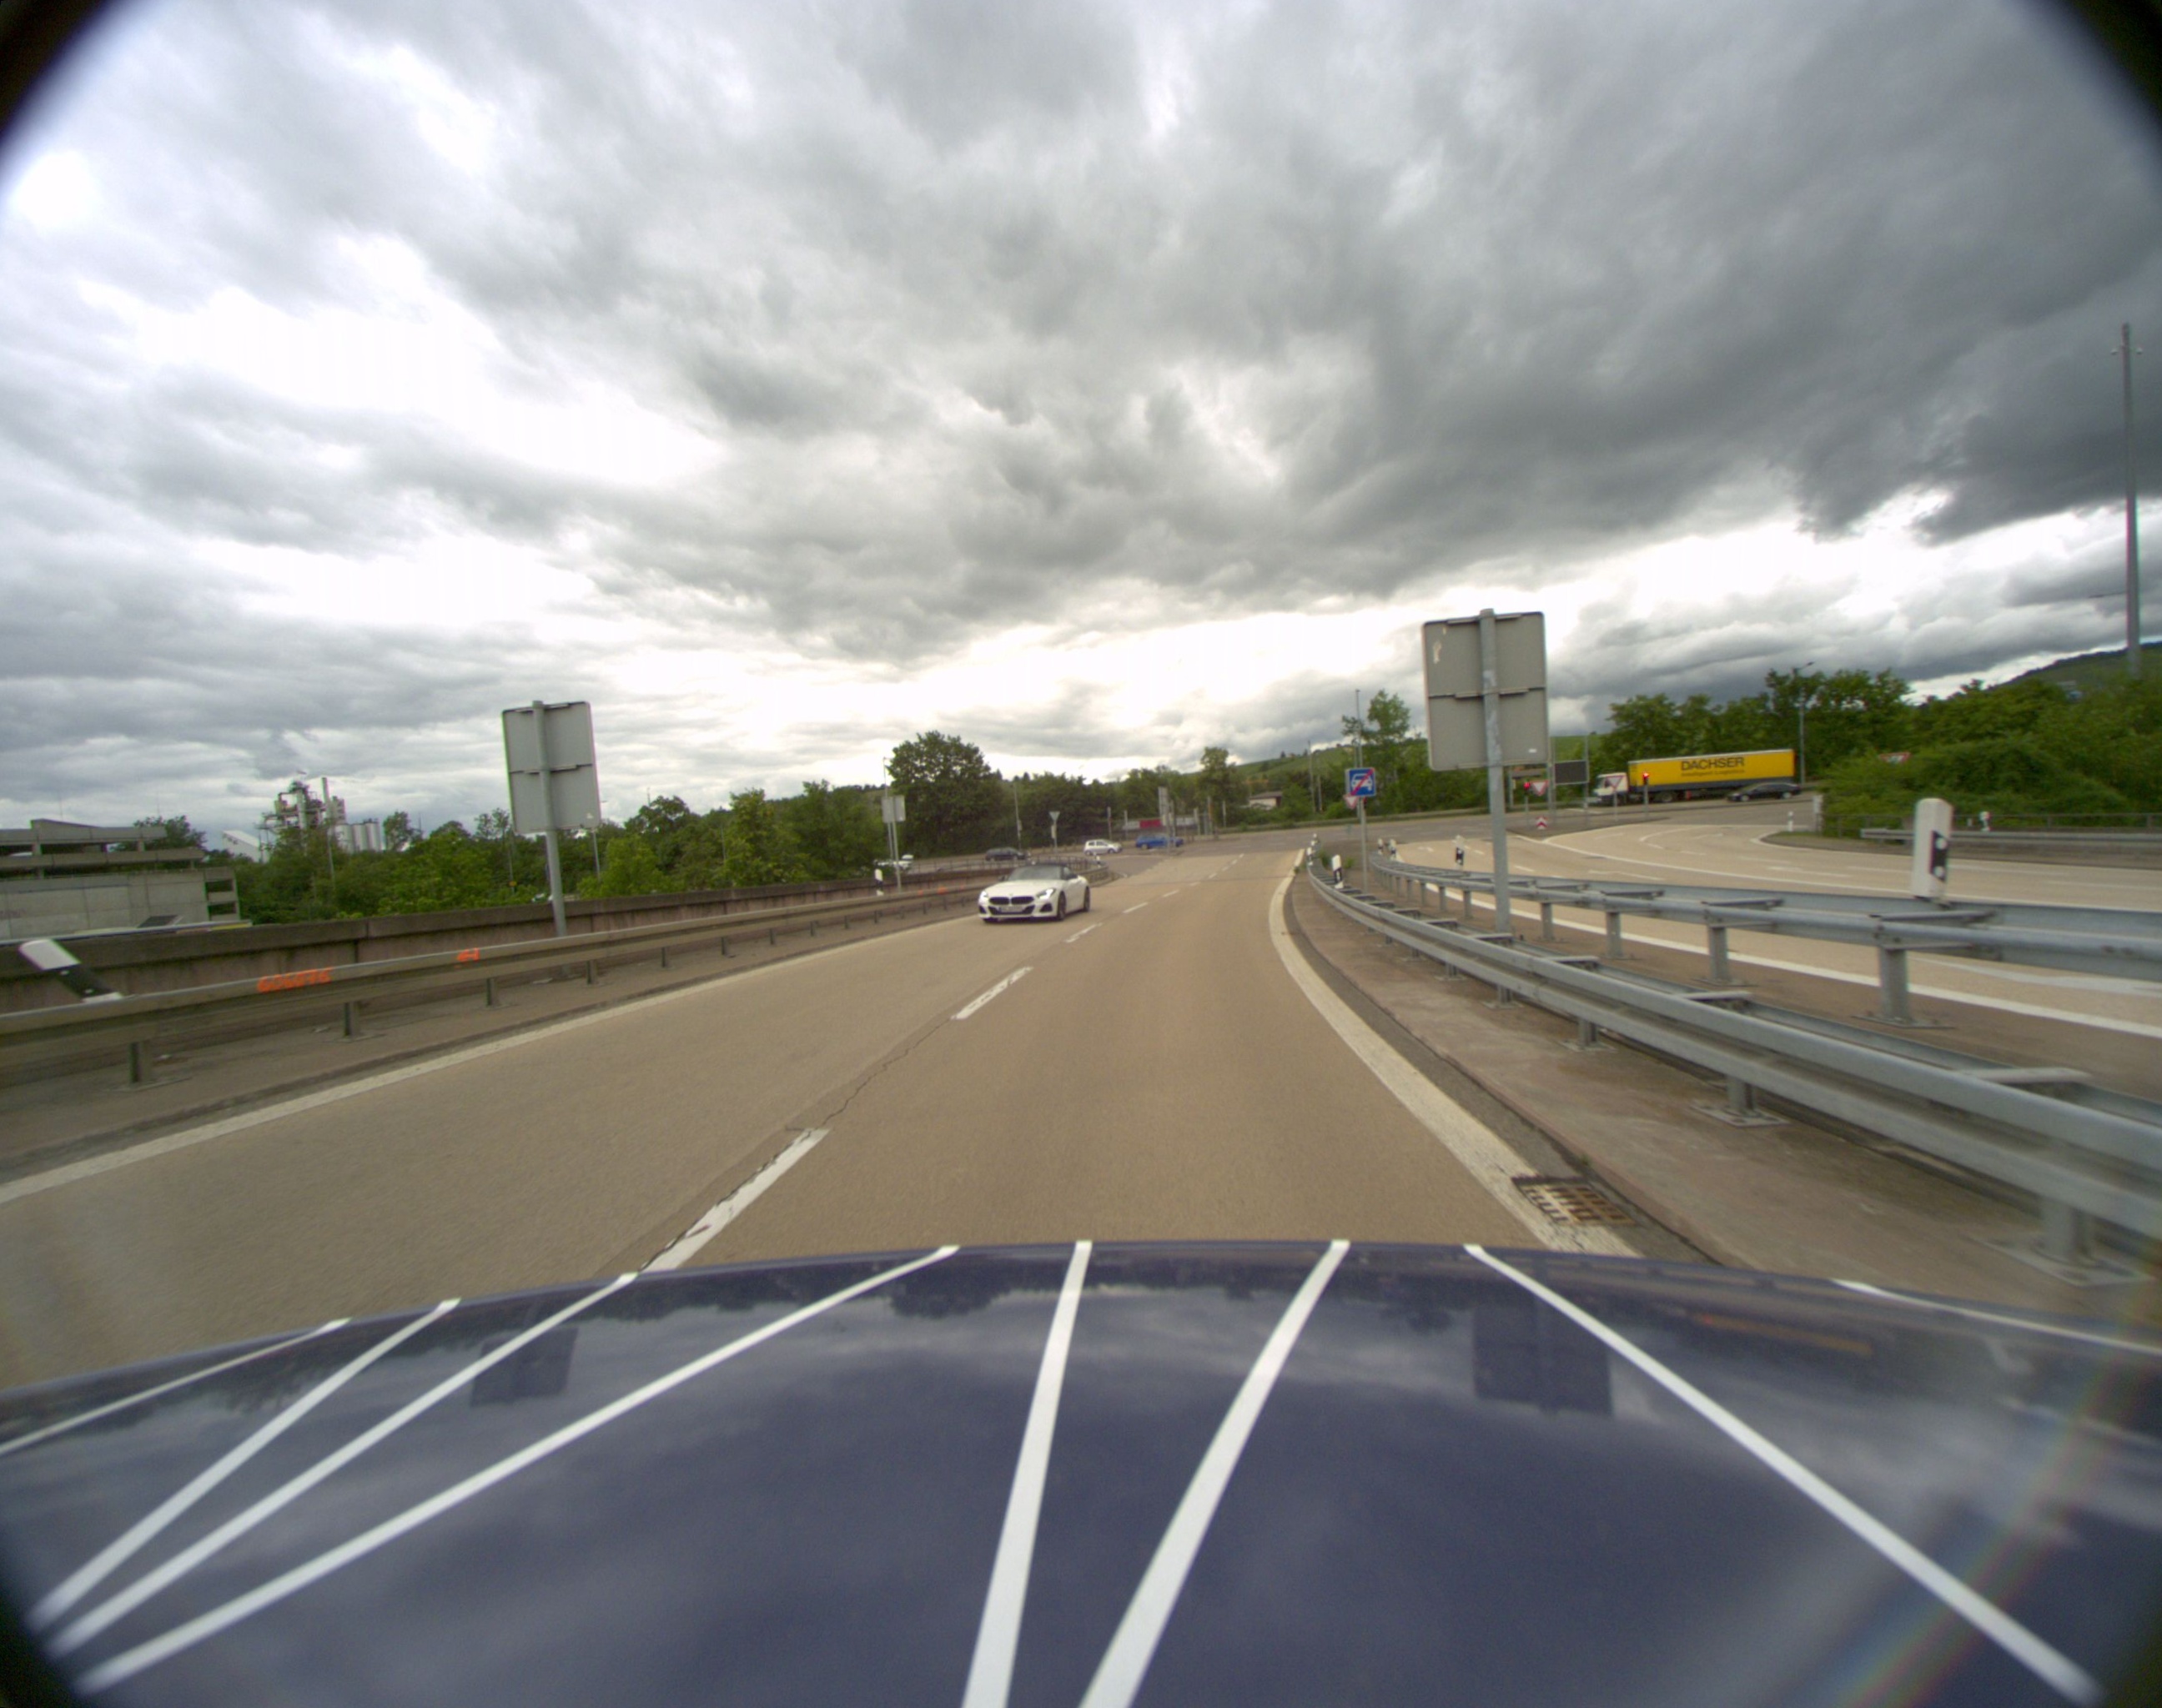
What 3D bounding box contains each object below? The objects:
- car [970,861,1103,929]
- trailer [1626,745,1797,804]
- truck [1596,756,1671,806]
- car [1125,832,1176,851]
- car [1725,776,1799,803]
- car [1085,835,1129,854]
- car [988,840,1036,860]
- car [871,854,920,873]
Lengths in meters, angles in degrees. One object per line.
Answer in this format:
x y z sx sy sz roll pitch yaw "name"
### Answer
-0.908 0.912 18.653 1.861 1.337 4.830 -2 0 14 "car"
56.986 -7.111 69.117 11.631 4.182 2.637 -4 4 23 "trailer"
51.708 -6.803 71.300 5.091 4.182 2.637 -3 4 23 "truck"
6.757 -1.217 74.064 4.532 1.446 1.611 -4 4 24 "car"
55.772 -5.292 62.311 4.117 1.653 1.629 -6 4 21 "car"
2.491 -0.914 72.957 3.741 1.367 1.630 -5 4 22 "car"
-7.053 -0.432 77.633 4.286 1.548 1.949 -5 4 21 "car"
-20.148 0.996 82.616 4.706 1.552 1.879 -5 4 17 "car"
